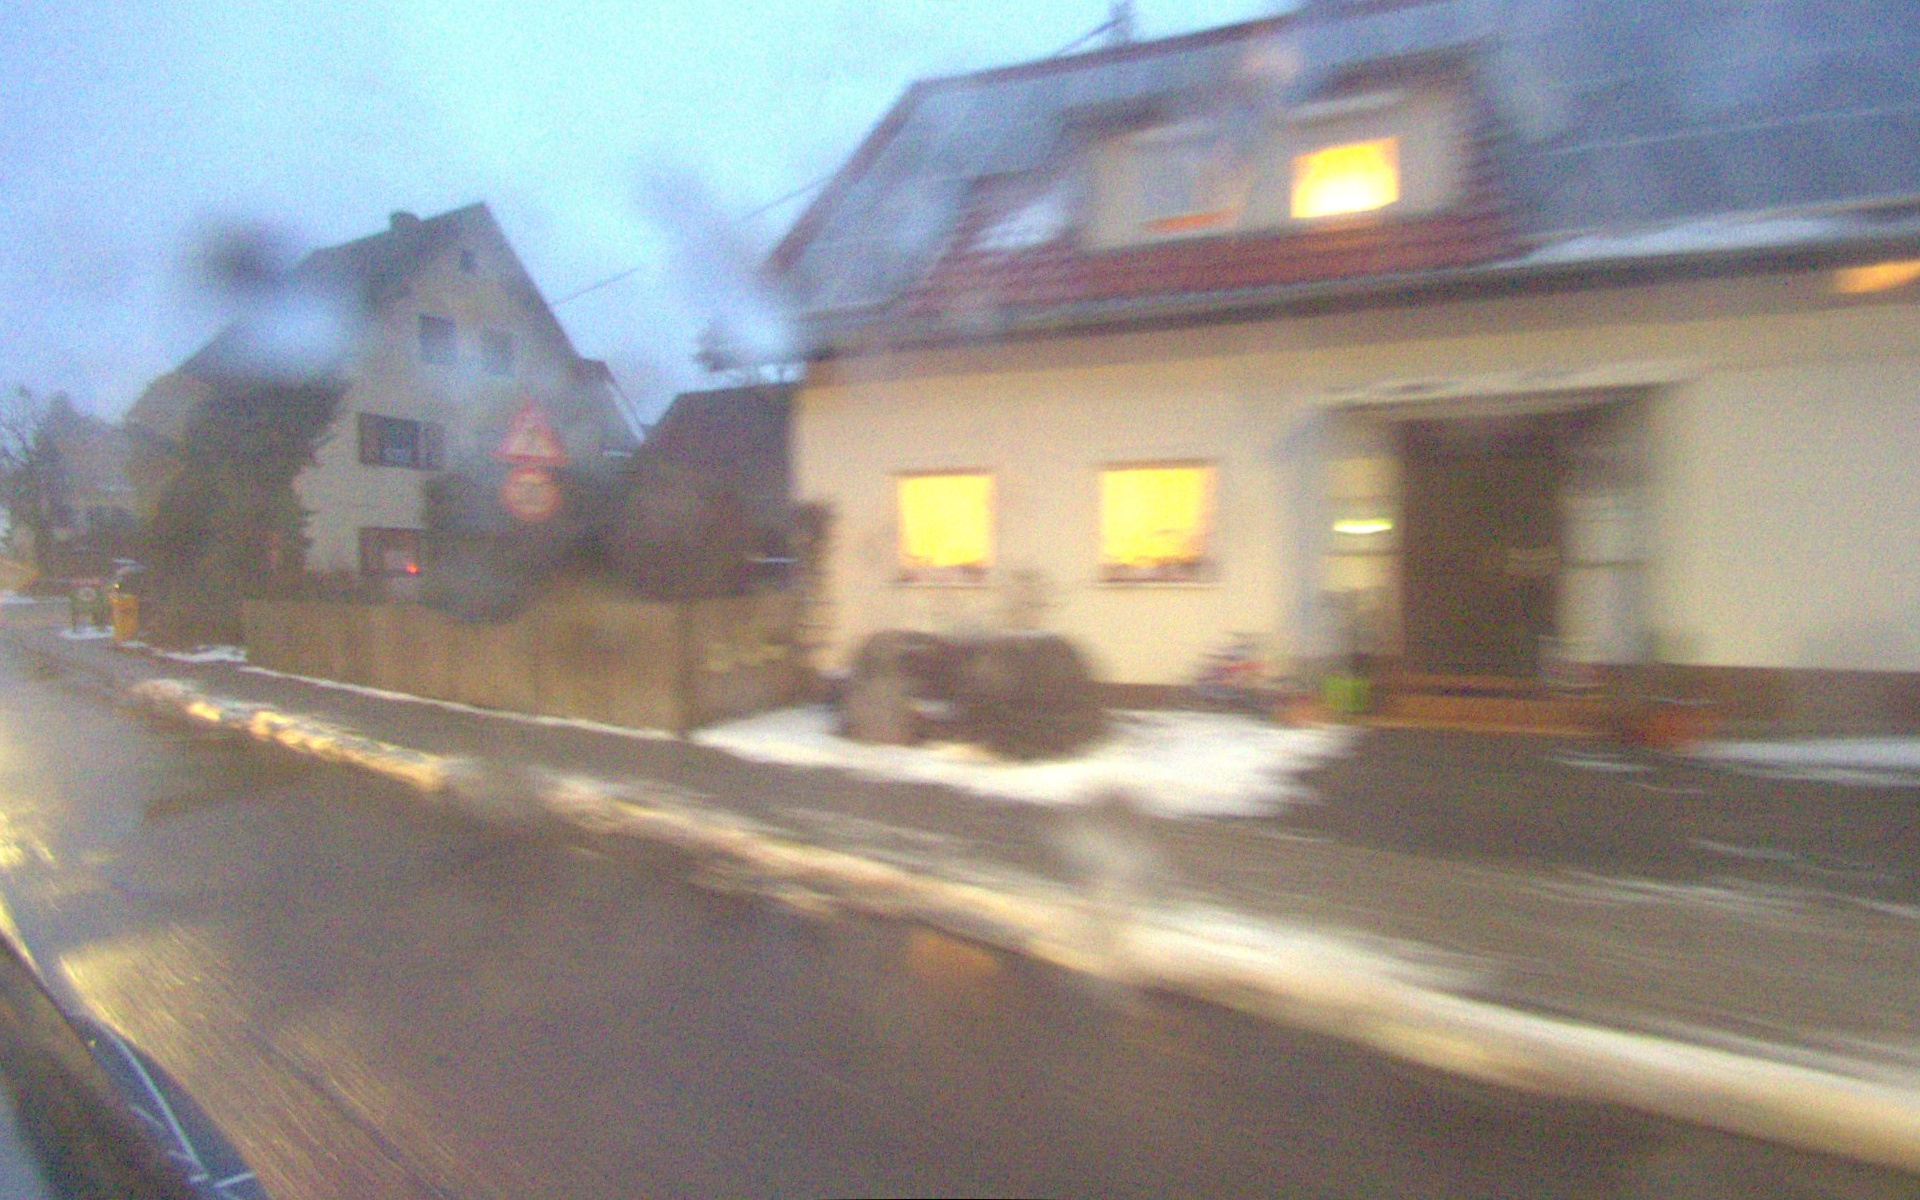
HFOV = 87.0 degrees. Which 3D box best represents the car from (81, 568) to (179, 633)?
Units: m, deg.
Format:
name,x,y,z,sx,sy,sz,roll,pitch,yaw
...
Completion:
name,x,y,z,sx,sy,sz,roll,pitch,yaw
car,-29.458,-0.025,35.884,4.081,2.051,1.973,1,5,42
